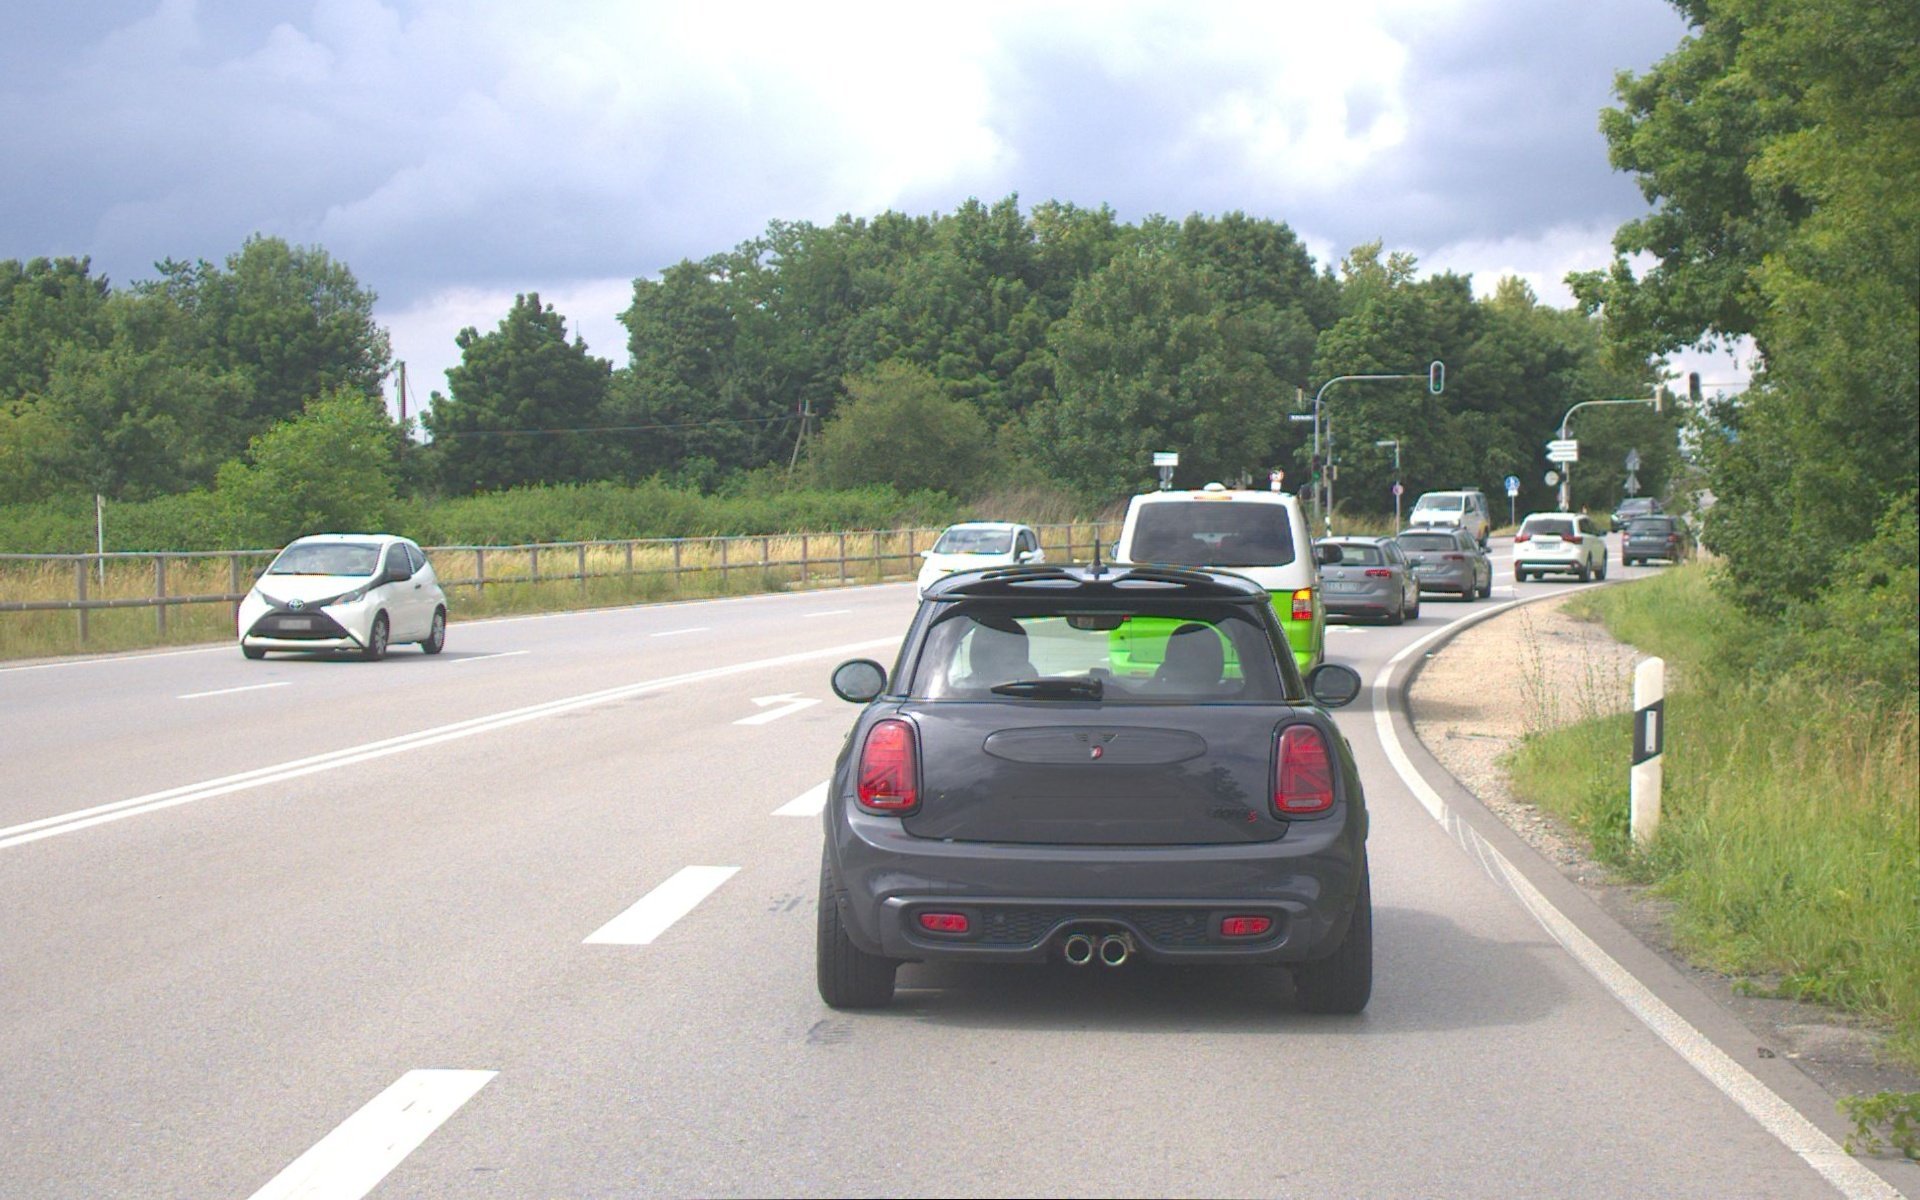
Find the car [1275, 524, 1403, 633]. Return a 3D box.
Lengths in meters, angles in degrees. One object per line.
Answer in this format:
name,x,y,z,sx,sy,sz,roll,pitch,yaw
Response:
car,6.298,-0.367,57.098,1.994,1.678,3.999,2,1,7

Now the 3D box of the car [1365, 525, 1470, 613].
car,9.273,-0.632,69.422,1.994,1.678,3.976,2,1,8

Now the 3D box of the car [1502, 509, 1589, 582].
car,14.296,-1.324,83.989,1.994,1.678,3.998,2,1,10

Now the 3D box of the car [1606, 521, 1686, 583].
car,19.600,-1.368,98.339,1.994,1.678,3.999,2,1,8

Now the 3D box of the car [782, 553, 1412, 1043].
car,0.436,0.568,12.118,1.845,1.423,3.841,1,1,1

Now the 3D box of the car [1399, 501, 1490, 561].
car,16.790,-2.391,118.916,1.996,2.007,4.662,1,2,22

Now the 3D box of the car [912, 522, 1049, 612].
car,0.397,-0.603,61.129,1.731,1.513,3.998,2,1,10

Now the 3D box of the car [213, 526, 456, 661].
car,-7.329,-0.116,40.630,1.877,1.484,3.743,1,1,5

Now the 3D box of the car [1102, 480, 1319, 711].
car,2.342,-0.052,31.811,1.845,1.980,3.840,1,0,5

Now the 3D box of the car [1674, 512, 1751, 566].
car,25.089,-2.049,114.559,1.995,1.690,4.482,1,2,19

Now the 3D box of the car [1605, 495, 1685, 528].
car,30.160,-3.908,151.311,1.812,1.436,4.344,1,2,36
